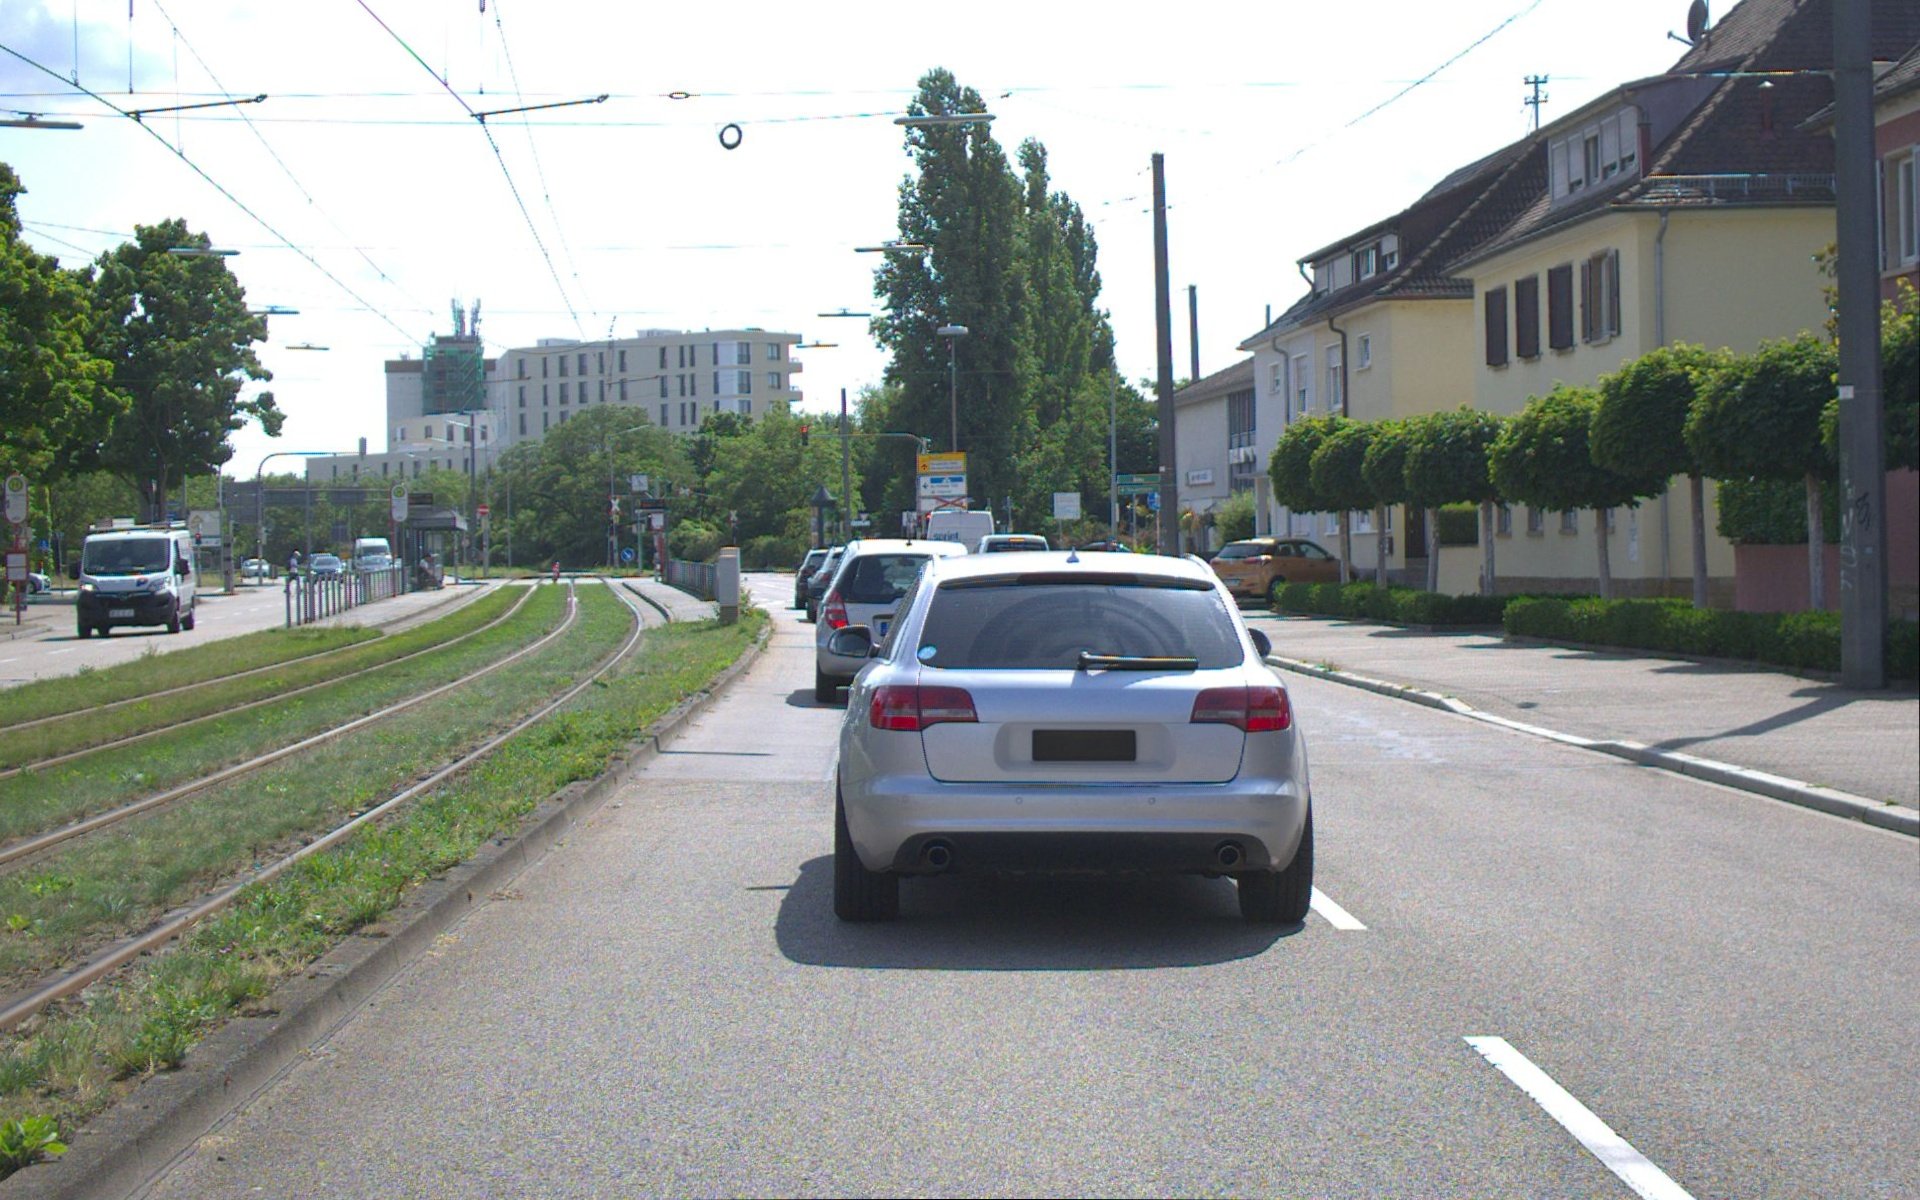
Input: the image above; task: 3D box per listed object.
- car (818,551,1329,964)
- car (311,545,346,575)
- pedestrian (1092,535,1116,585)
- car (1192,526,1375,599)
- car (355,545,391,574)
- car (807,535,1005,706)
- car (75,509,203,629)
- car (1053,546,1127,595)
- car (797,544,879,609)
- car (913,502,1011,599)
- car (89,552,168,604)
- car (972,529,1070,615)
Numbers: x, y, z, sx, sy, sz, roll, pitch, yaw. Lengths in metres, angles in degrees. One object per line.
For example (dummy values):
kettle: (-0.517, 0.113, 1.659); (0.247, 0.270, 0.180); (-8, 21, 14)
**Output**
car: (0.489, 0.543, 14.788); (1.854, 1.487, 4.536); (0, 1, 2)
car: (-35.555, -2.243, 193.631); (1.862, 1.645, 4.001); (0, 1, -10)
pedestrian: (5.298, -1.481, 126.538); (0.721, 1.776, 0.703); (-3, 1, -4)
car: (7.279, -0.860, 77.099); (1.915, 1.453, 4.083); (1, 4, 44)
car: (-31.855, -2.178, 186.673); (1.896, 1.536, 3.730); (0, 1, -10)
car: (-0.598, 0.153, 34.298); (1.787, 1.571, 4.095); (1, 1, -3)
car: (-17.358, -0.646, 72.921); (2.196, 2.364, 5.334); (-2, 1, -9)
car: (4.357, -0.999, 115.807); (1.884, 1.631, 4.095); (0, 1, -6)
car: (-2.948, -0.585, 83.546); (1.885, 1.525, 4.094); (0, 1, -1)
car: (0.013, -1.360, 93.624); (2.040, 2.549, 5.232); (-1, 1, -6)
car: (-26.368, -0.722, 109.126); (1.786, 1.578, 3.931); (-1, 1, -4)
car: (1.311, -0.618, 72.418); (1.885, 1.725, 4.094); (-1, 1, 3)
